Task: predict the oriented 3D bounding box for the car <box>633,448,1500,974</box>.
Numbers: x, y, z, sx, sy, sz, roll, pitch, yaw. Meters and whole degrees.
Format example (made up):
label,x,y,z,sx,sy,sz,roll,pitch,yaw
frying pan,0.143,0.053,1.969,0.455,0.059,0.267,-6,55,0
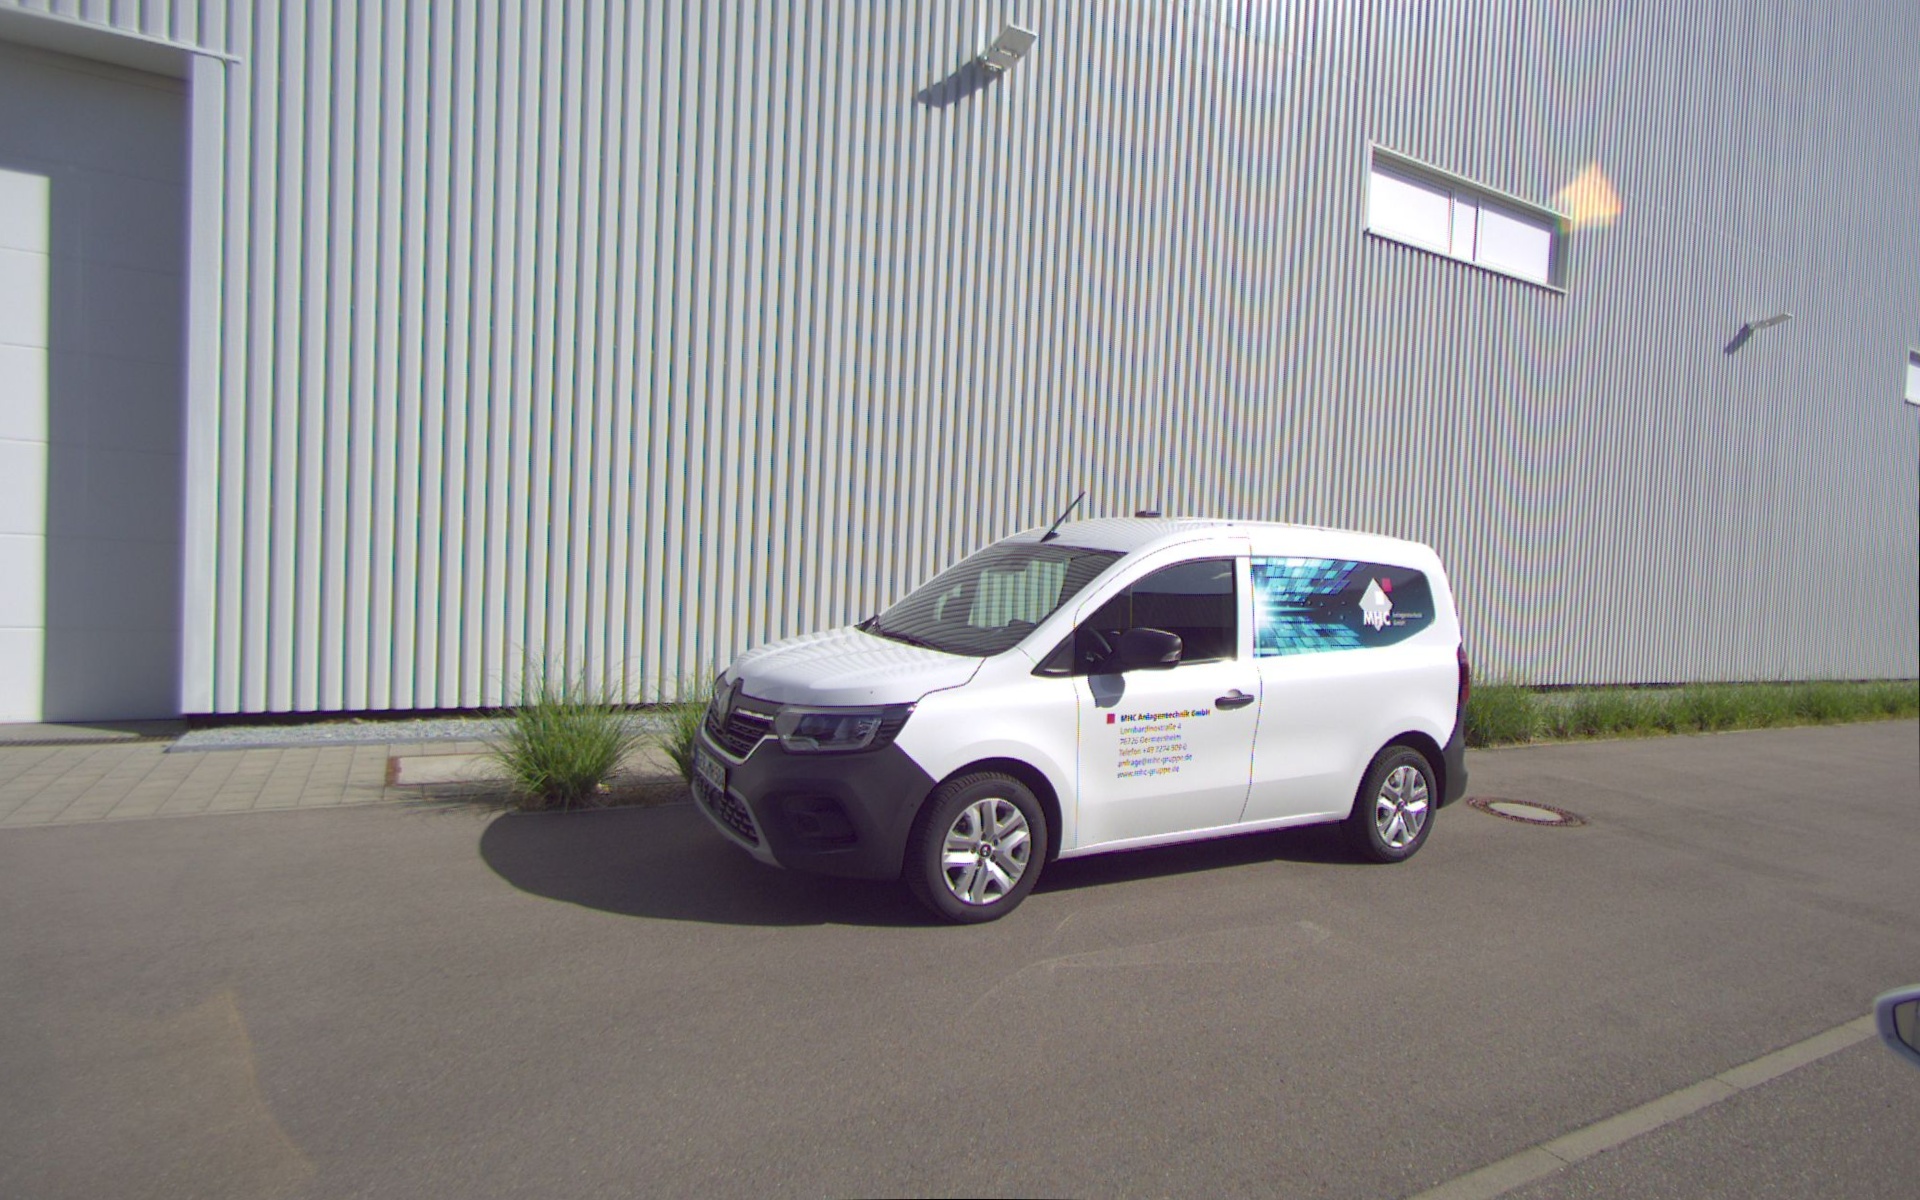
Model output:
label,x,y,z,sx,sy,sz,roll,pitch,yaw
car,0.670,0.392,5.441,4.307,1.870,1.881,2,4,-30
